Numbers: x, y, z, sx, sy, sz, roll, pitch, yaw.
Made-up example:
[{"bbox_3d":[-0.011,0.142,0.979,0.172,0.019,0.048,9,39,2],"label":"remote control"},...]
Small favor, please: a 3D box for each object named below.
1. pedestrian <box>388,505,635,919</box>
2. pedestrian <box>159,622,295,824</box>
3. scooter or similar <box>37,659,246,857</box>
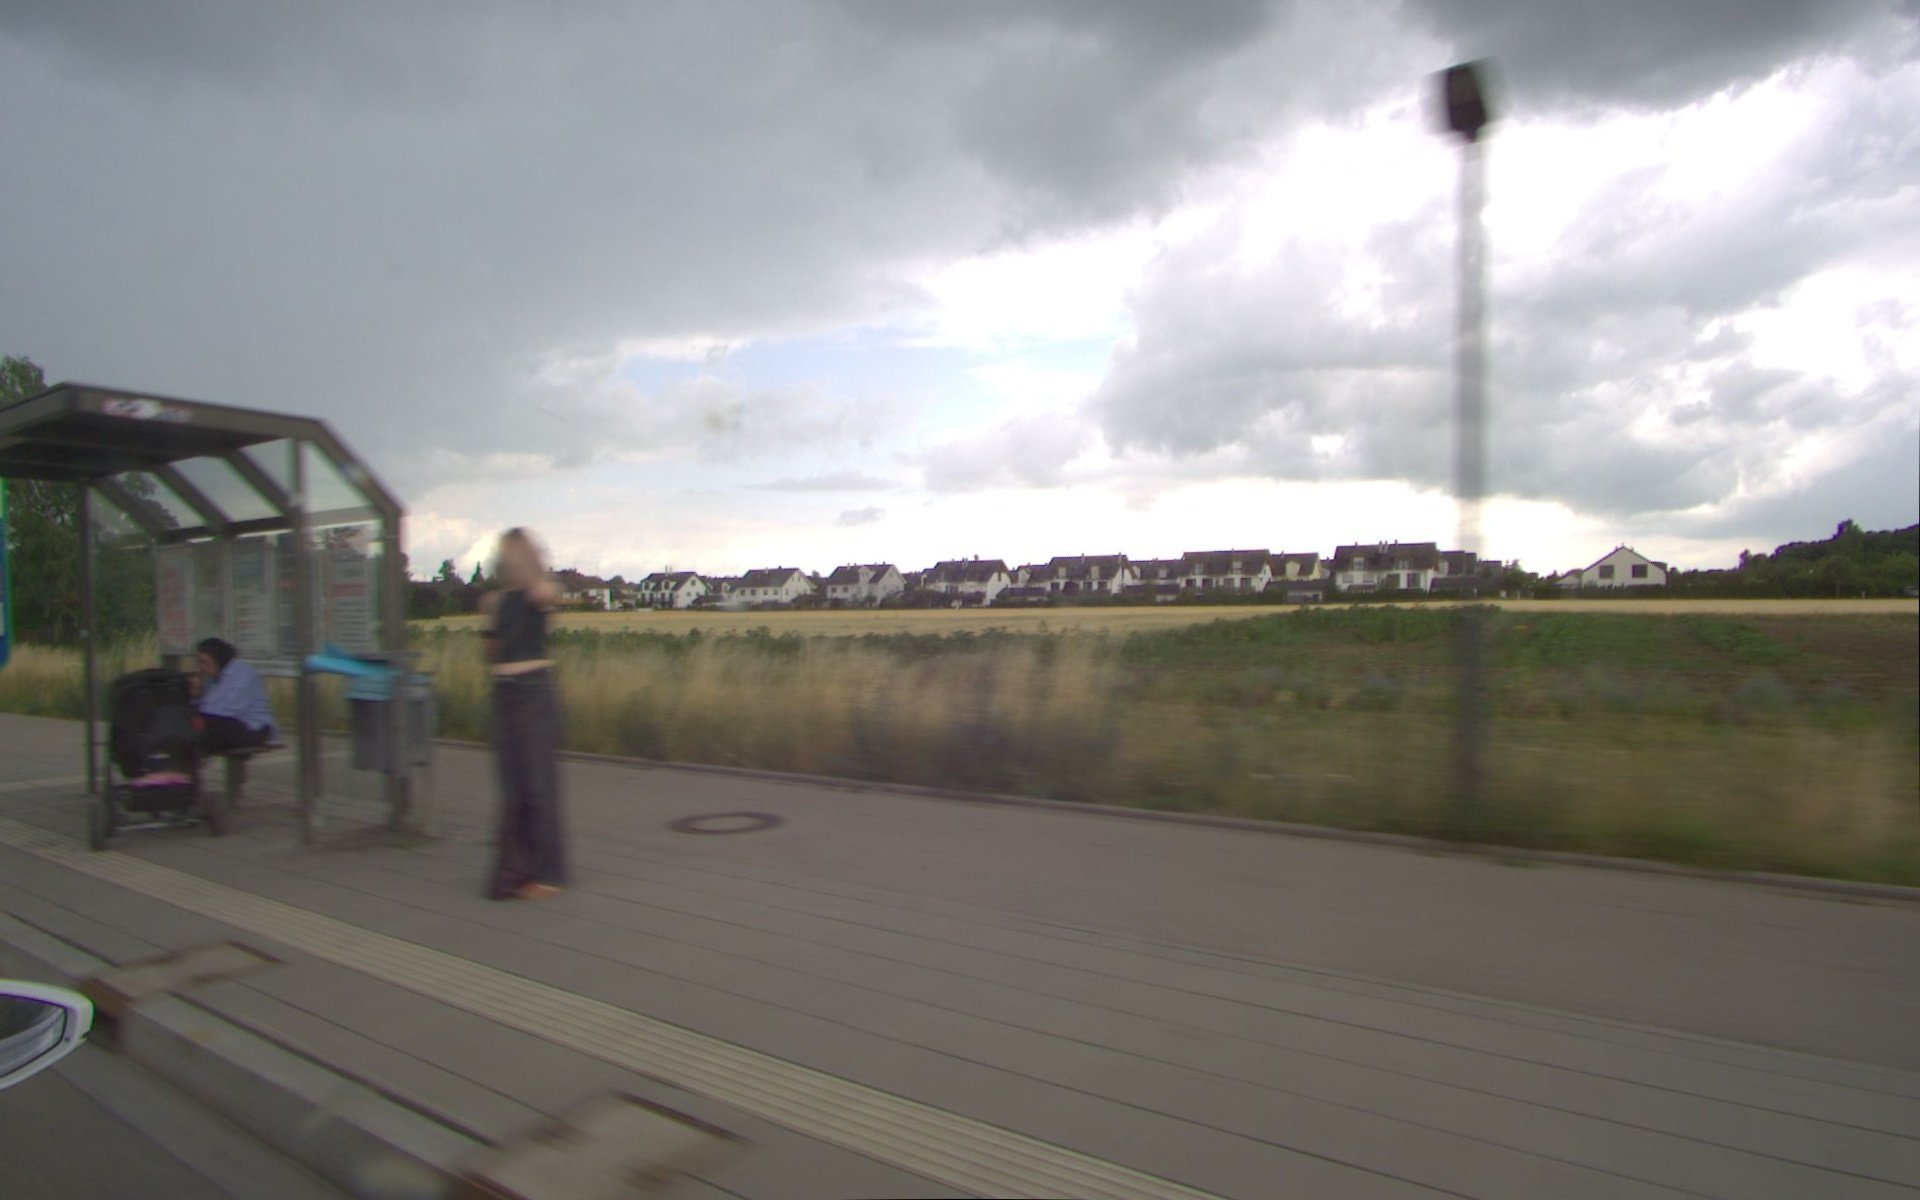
[{"bbox_3d":[-2.168,0.508,4.903,0.766,1.815,0.782,-1,-1,22],"label":"pedestrian"},{"bbox_3d":[-5.095,0.821,6.970,0.499,1.319,0.661,-1,-2,41],"label":"pedestrian"},{"bbox_3d":[-5.029,0.924,6.234,0.697,1.075,1.057,0,-2,-21],"label":"scooter or similar"}]
